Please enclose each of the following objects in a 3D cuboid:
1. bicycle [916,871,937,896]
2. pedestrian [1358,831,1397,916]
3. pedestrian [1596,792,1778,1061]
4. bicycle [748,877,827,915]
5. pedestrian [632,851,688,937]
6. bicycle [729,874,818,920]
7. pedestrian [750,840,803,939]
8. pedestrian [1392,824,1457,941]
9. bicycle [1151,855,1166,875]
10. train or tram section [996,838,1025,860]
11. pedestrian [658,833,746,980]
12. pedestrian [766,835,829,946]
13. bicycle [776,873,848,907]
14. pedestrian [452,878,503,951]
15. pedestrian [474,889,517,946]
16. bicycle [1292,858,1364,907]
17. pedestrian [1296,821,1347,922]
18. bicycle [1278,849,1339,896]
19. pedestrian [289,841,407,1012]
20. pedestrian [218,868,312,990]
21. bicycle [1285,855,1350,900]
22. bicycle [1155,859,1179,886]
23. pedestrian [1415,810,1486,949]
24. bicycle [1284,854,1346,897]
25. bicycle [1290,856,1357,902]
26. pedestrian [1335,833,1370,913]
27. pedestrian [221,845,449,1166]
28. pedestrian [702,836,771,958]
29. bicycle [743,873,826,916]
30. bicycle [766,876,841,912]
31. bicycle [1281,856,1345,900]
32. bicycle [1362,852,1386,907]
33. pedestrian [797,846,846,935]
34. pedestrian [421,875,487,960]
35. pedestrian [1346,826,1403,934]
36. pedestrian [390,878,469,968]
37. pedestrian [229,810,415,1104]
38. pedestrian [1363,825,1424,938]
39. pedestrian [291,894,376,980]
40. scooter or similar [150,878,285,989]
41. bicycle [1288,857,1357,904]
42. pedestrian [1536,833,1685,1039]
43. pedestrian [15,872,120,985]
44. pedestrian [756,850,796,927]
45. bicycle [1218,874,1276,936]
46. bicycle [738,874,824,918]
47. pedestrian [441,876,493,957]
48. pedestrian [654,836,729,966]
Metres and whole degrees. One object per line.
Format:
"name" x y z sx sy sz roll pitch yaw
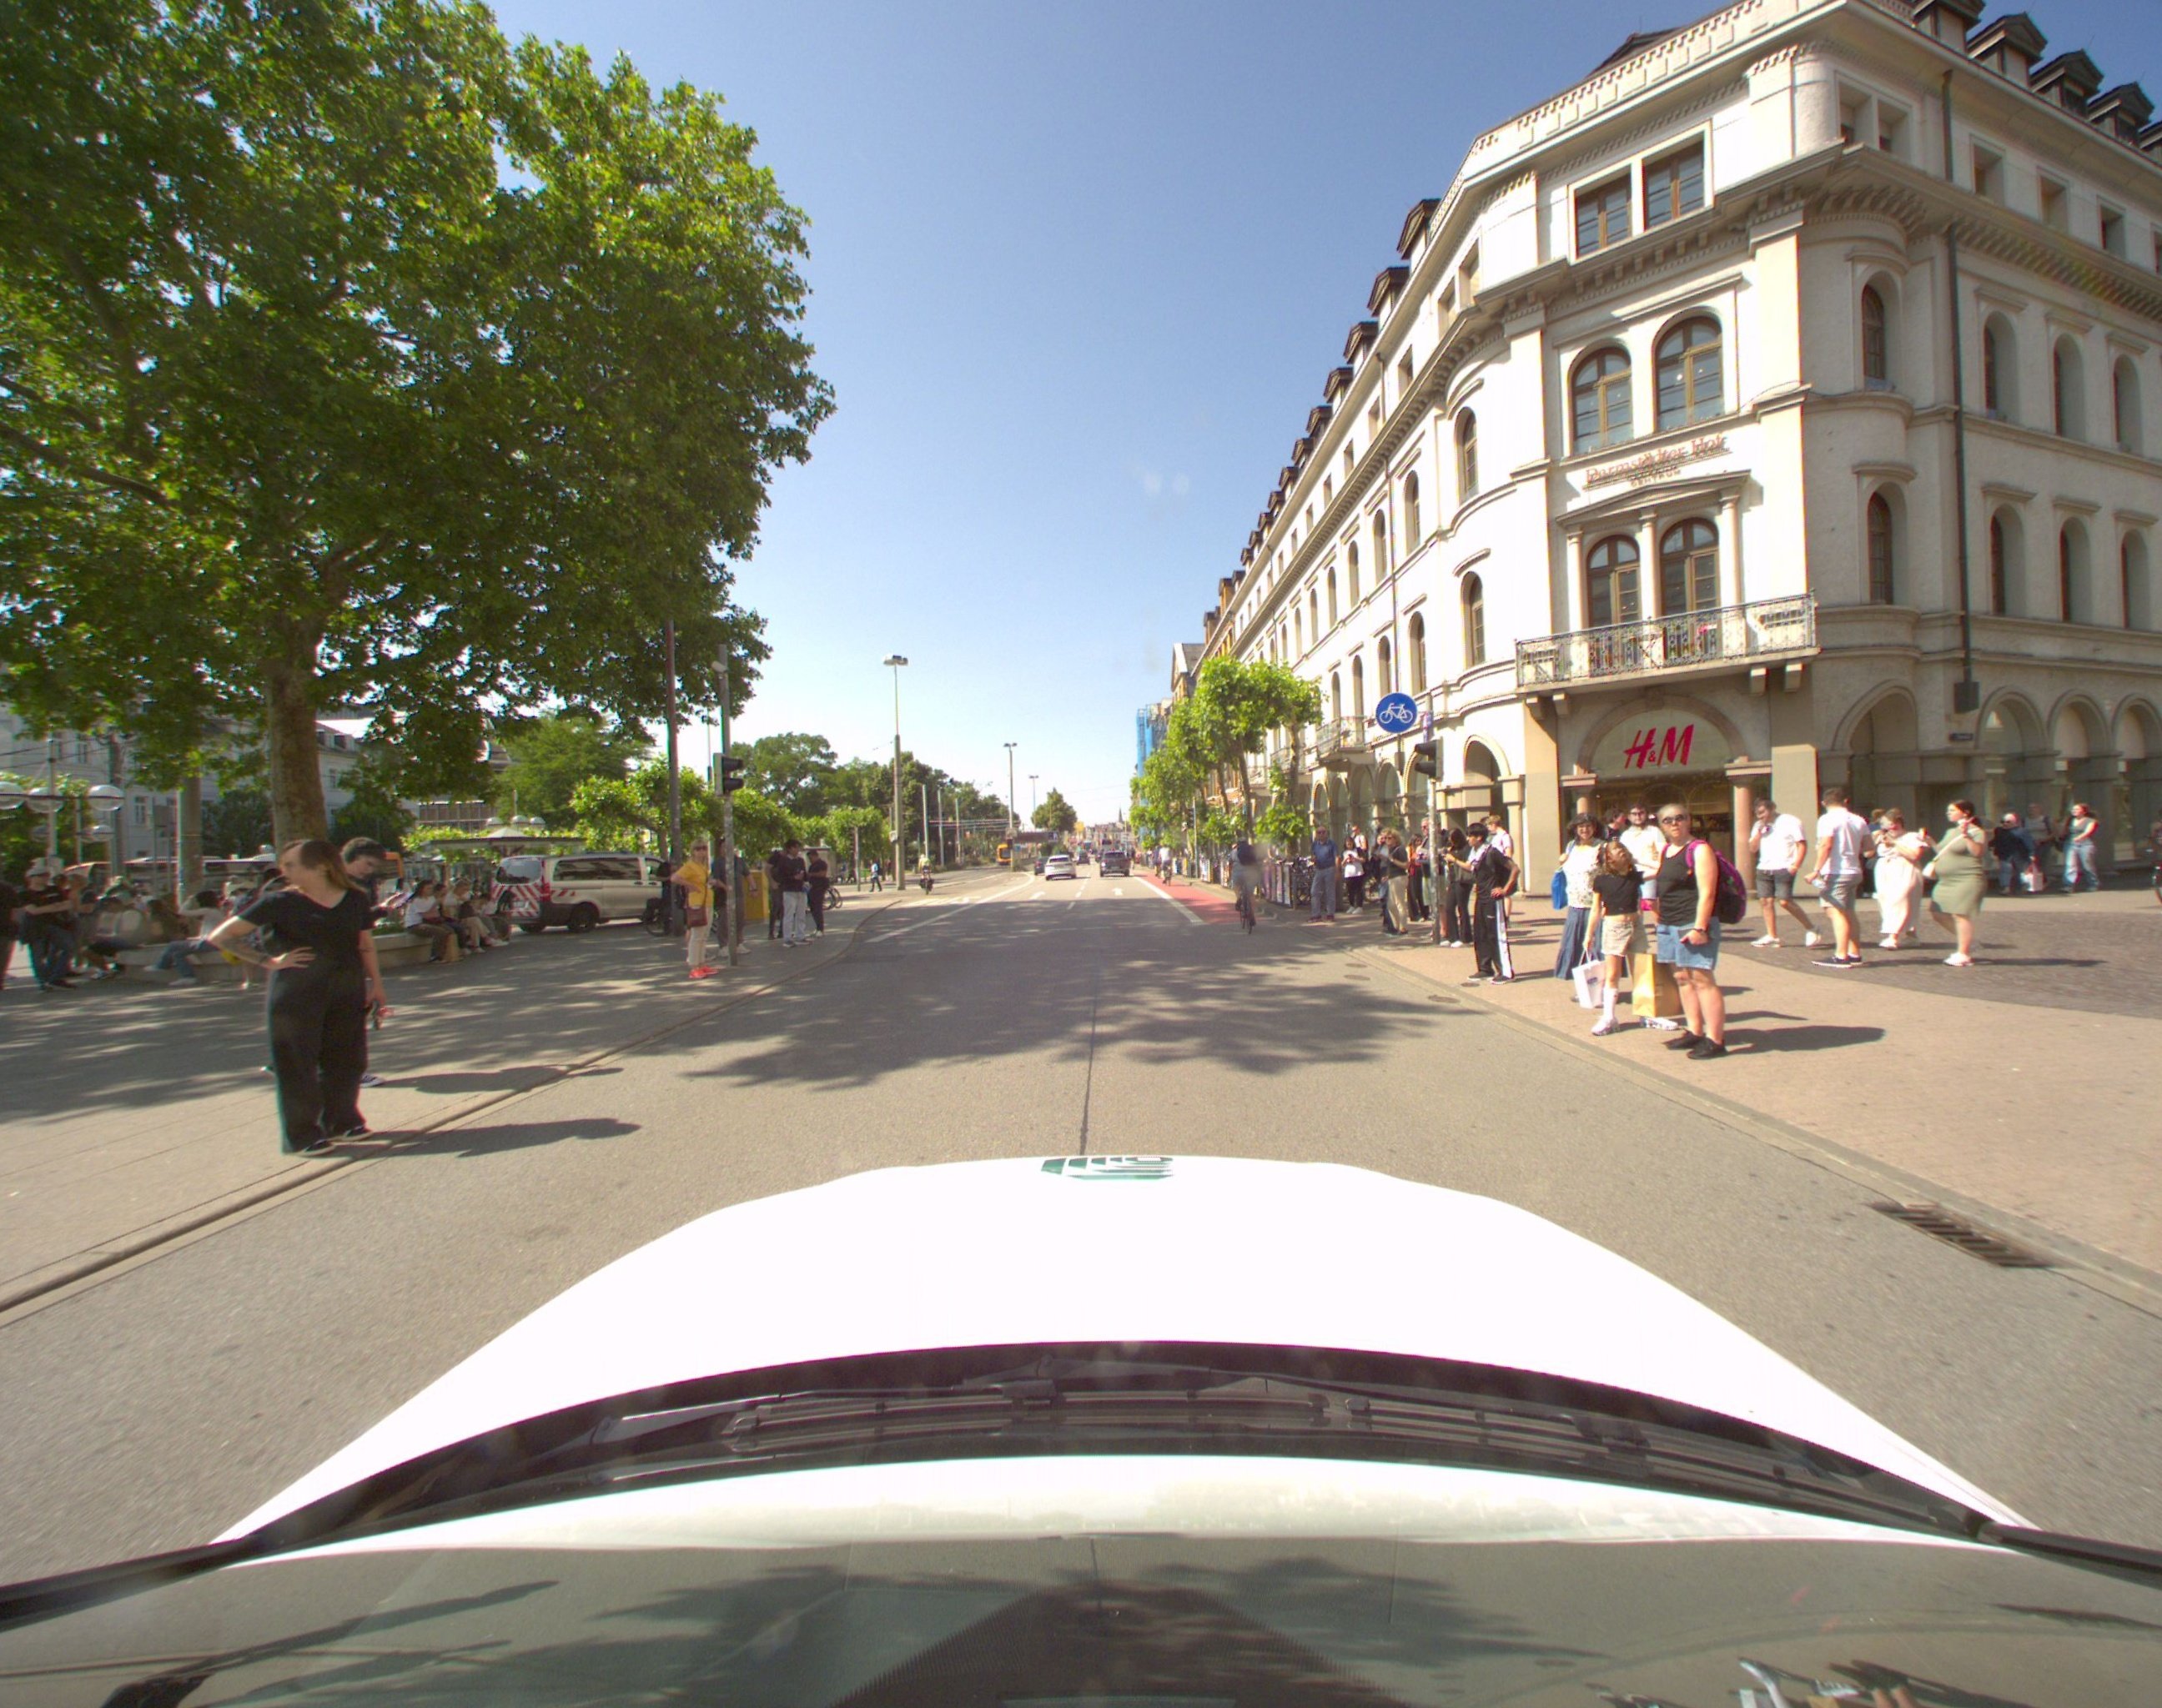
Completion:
"bicycle" -6.850 1.291 36.170 0.676 1.026 1.964 -2 0 -5
"pedestrian" 5.752 0.374 15.786 0.525 1.595 0.615 -5 -1 28
"pedestrian" 4.323 0.490 5.859 0.669 1.769 0.677 -5 0 -1
"bicycle" -8.673 1.223 24.152 2.082 0.980 0.682 -3 0 -10
"pedestrian" -8.923 0.842 17.290 0.671 1.764 0.771 -2 0 31
"bicycle" -8.202 1.144 21.813 2.082 1.089 0.682 -3 0 -10
"pedestrian" -5.792 0.657 15.497 0.611 1.823 0.668 -2 0 31
"pedestrian" 5.144 0.419 12.236 0.581 1.673 0.605 -5 0 -1
"bicycle" 4.228 0.587 44.309 0.645 0.998 2.031 -2 1 1
"train or tram section" -11.083 -0.832 128.905 2.600 3.348 11.018 -2 1 5
"pedestrian" -4.825 0.648 10.381 0.627 1.794 0.735 -2 0 22
"pedestrian" -4.851 0.610 13.965 0.626 1.834 0.735 -2 0 31
"bicycle" -8.755 1.173 26.569 2.082 0.980 0.682 -3 0 -10
"pedestrian" -11.742 1.150 15.845 0.708 1.348 0.504 -2 0 -42
"pedestrian" -11.834 1.272 16.465 0.633 1.094 0.504 -2 0 -42
"bicycle" 5.454 0.617 17.989 1.415 0.980 0.445 -3 1 2
"pedestrian" 4.677 0.333 15.833 0.681 1.898 0.615 -5 0 28
"bicycle" 5.887 0.469 21.076 1.415 1.114 0.401 -3 1 2
"pedestrian" -8.179 0.775 9.107 0.627 1.810 0.735 -2 0 22
"pedestrian" -10.960 0.983 10.947 0.627 1.565 0.669 -2 0 22
"bicycle" 5.713 0.565 19.724 1.415 0.980 0.445 -3 1 2
"bicycle" 3.639 0.779 34.629 0.771 1.006 2.330 -2 1 2
"pedestrian" 5.052 0.338 11.176 0.608 1.823 0.677 -2 0 -1
"bicycle" 5.916 0.538 20.648 1.415 0.980 0.401 -3 1 2
"bicycle" 5.736 0.580 19.268 1.415 0.980 0.445 -3 1 2
"pedestrian" 5.645 0.392 16.902 0.525 1.594 0.616 -2 3 28
"pedestrian" -4.085 0.758 4.491 0.627 1.595 0.690 -2 0 22
"pedestrian" -5.433 0.651 12.858 0.626 1.859 0.735 -2 0 31
"bicycle" -8.401 1.134 23.144 2.082 1.089 0.682 -3 0 -10
"bicycle" -8.632 1.244 25.377 2.082 0.980 0.682 -3 0 -10
"bicycle" 5.751 0.584 20.216 1.415 0.980 0.445 -3 1 2
"bicycle" 6.557 0.544 18.203 0.396 1.114 1.433 -3 1 22
"pedestrian" -5.039 0.696 15.802 0.611 1.668 0.596 -2 0 31
"pedestrian" -10.794 1.068 14.045 0.659 1.386 0.662 -2 0 -14
"pedestrian" 4.875 0.421 13.535 0.581 1.700 0.605 -5 0 -1
"pedestrian" -10.602 1.103 13.275 0.729 1.386 0.664 -2 0 -6
"pedestrian" -5.179 0.655 5.583 0.627 1.859 0.690 -2 0 22
"pedestrian" 4.888 0.420 12.781 0.581 1.673 0.605 -5 0 -1
"pedestrian" -10.750 1.175 11.718 0.627 1.144 0.669 -2 0 22
"scooter or similar" -12.222 1.081 11.531 1.264 1.420 1.045 -2 0 32
"bicycle" 5.573 0.615 18.810 1.415 0.980 0.445 -3 1 2
"pedestrian" 4.231 0.626 6.554 0.608 1.515 0.677 -6 0 -1
"pedestrian" -14.040 1.010 11.289 0.627 1.478 0.735 -2 0 22
"pedestrian" -7.070 0.790 18.886 0.608 1.724 0.677 -2 0 -1
"bicycle" 2.977 0.883 14.797 0.628 0.980 2.089 -2 0 1
"bicycle" -8.265 1.142 22.490 2.082 1.089 0.682 -3 0 -10
"pedestrian" -11.112 1.104 14.764 0.663 1.386 0.658 -2 0 -32
"pedestrian" -5.810 0.676 12.149 0.626 1.859 0.735 -2 0 31
